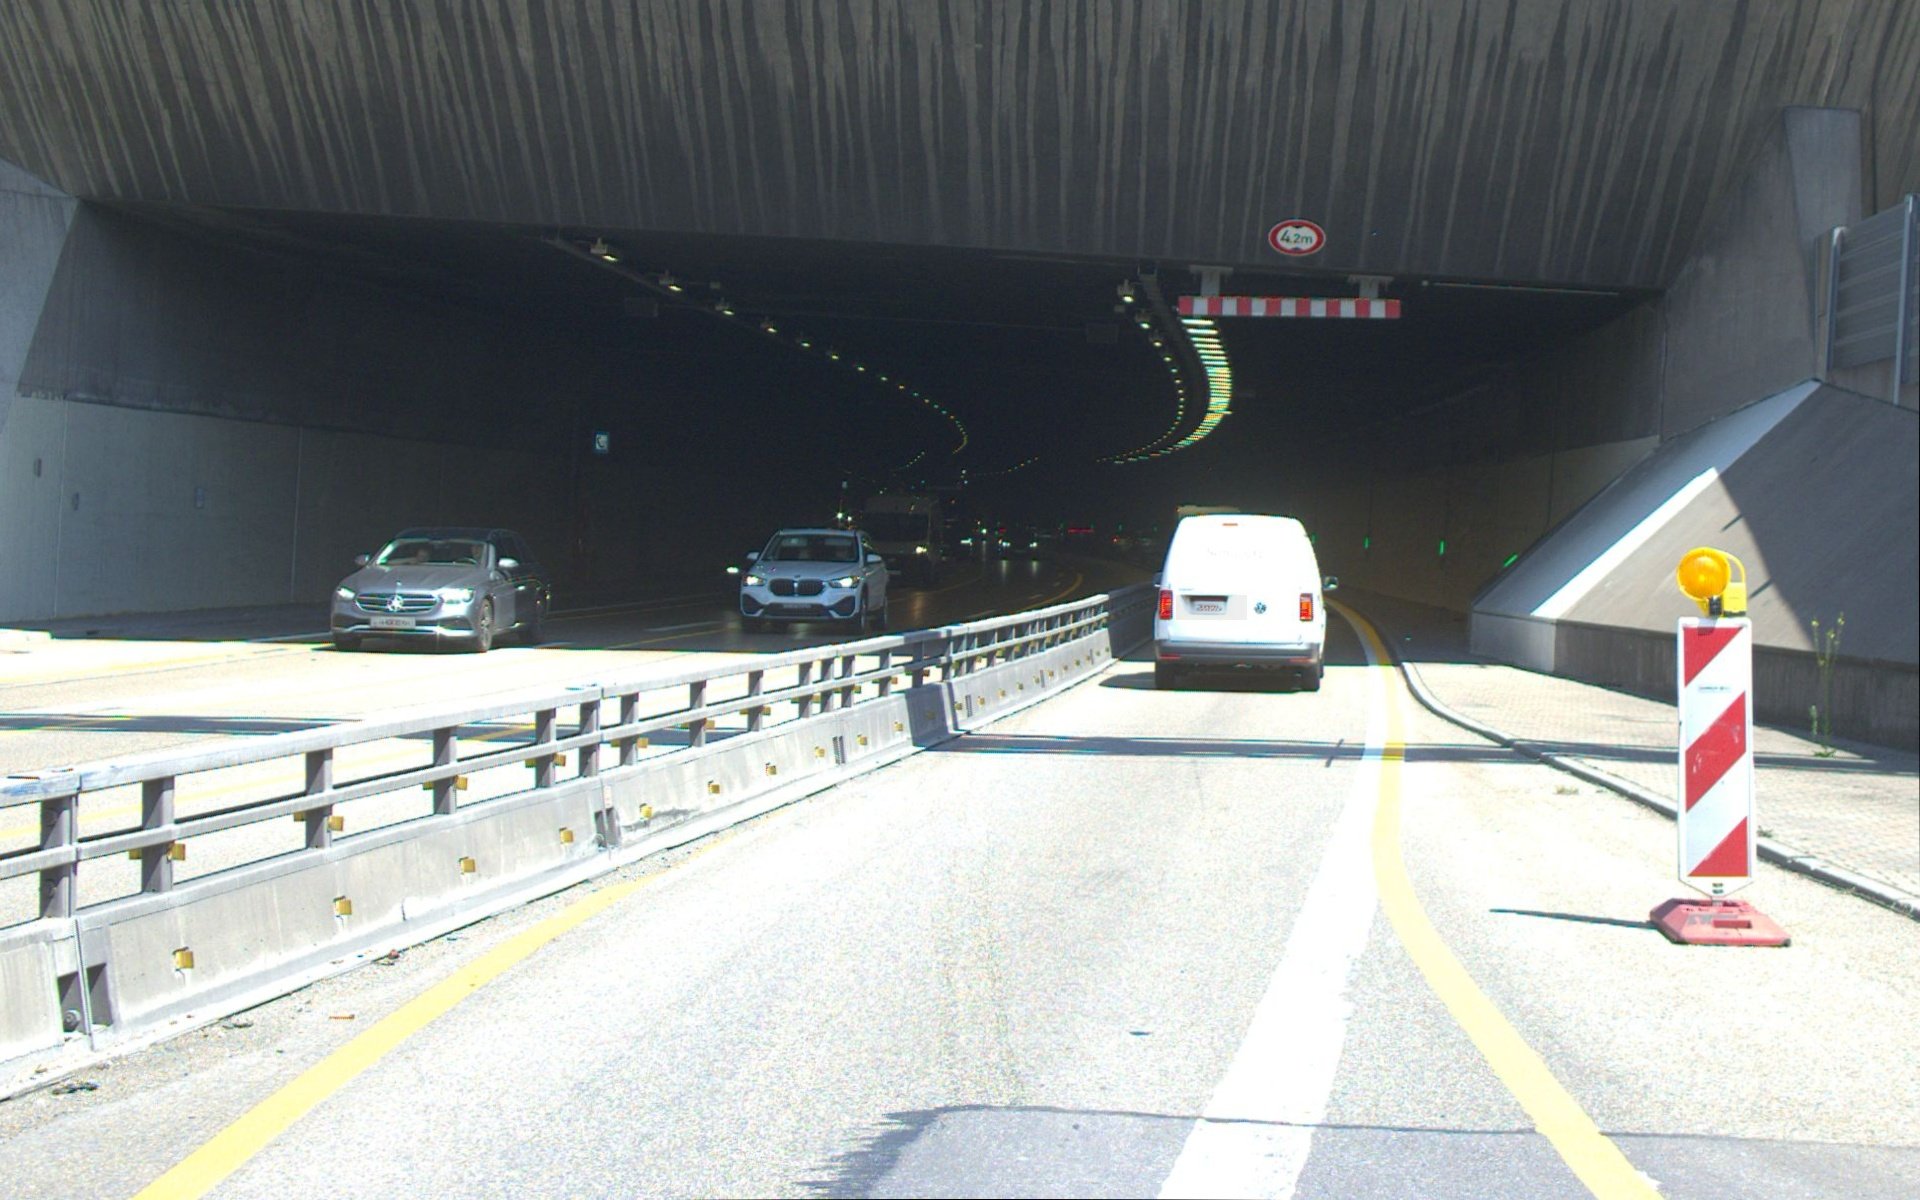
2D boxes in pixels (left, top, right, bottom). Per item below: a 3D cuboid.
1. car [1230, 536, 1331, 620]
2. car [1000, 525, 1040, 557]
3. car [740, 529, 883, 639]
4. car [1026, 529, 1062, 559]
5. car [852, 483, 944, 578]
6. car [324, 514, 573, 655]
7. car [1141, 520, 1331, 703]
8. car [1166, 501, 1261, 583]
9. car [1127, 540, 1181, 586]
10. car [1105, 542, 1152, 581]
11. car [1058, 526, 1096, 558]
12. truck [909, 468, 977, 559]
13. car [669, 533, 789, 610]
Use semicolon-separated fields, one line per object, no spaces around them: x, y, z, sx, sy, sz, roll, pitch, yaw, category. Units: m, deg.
6.296;-0.433;67.858;1.809;1.532;4.409;3;1;4;car
2.828;-2.779;162.686;1.821;1.451;4.093;1;1;1;car
-2.208;-0.279;52.023;1.774;1.572;4.446;1;1;2;car
5.862;-3.915;239.888;2.073;2.014;4.663;1;1;-4;car
-1.658;-1.911;94.222;1.994;2.506;6.041;1;1;4;car
-6.349;-0.231;43.202;1.774;1.661;4.805;1;1;8;car
3.026;0.112;37.134;1.809;1.788;3.730;3;1;7;car
9.561;-2.141;130.124;2.814;2.764;7.101;4;0;-1;car
9.353;-1.822;166.144;2.035;2.014;4.632;5;1;-2;car
8.916;-2.048;181.803;1.939;2.014;4.663;1;1;-4;car
7.339;-3.651;215.958;1.939;2.014;4.663;1;1;-4;car
-0.722;-3.830;153.012;2.810;3.902;6.456;1;1;1;truck
-4.702;-0.612;70.627;1.774;1.510;4.563;1;1;5;car
